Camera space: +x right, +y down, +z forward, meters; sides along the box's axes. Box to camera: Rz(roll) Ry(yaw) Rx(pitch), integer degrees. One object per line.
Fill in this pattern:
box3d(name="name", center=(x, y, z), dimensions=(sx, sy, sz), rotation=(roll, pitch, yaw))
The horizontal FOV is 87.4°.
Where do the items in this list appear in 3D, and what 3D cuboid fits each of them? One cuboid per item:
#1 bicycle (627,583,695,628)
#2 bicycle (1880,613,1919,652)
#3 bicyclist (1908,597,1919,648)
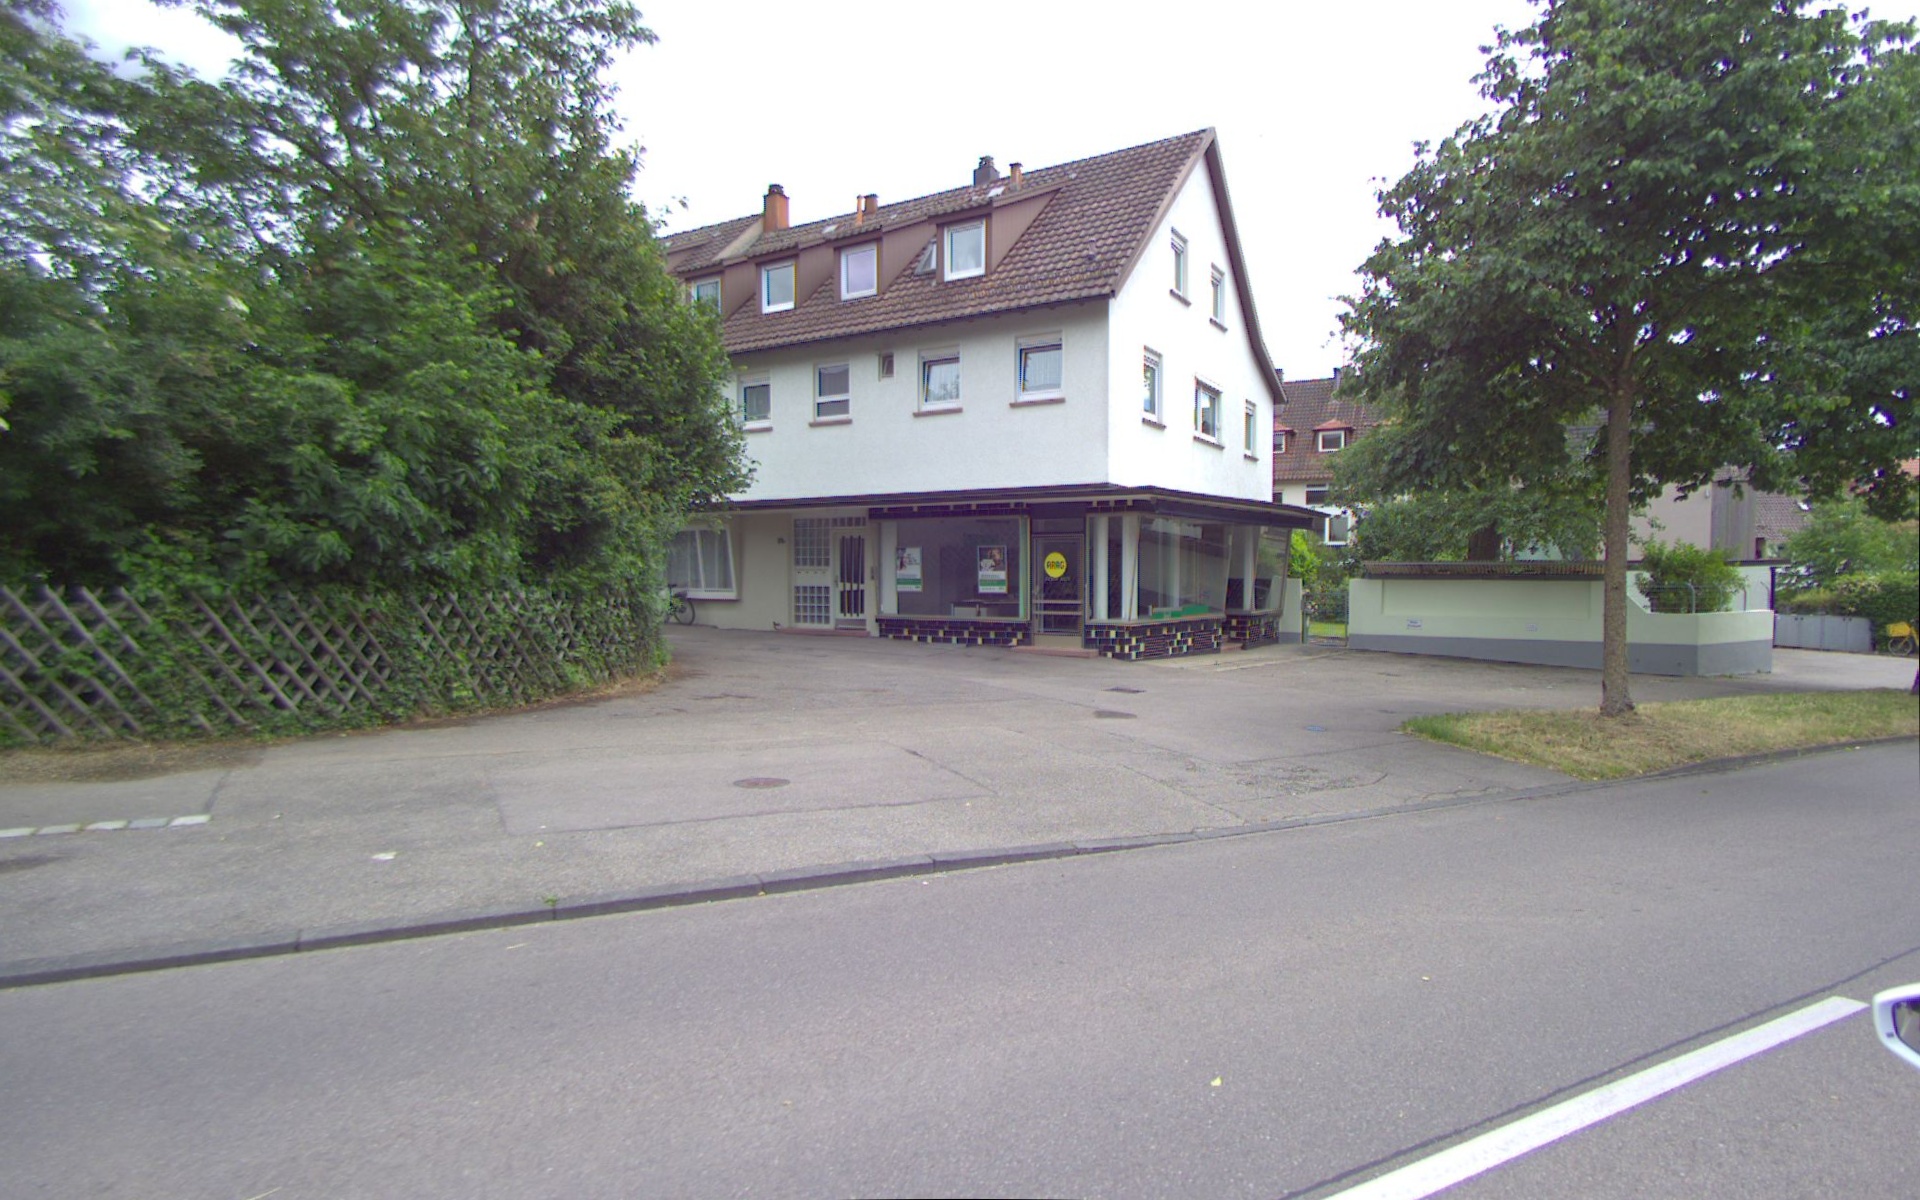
box3d(name="bicycle", center=(-6.882, 0.114, 23.088), dimensions=(1.619, 0.925, 0.658), rotation=(4, 3, 38))
box3d(name="bicycle", center=(32.819, 1.130, 33.851), dimensions=(2.612, 1.283, 0.843), rotation=(3, 2, 41))
box3d(name="bicyclist", center=(32.648, 0.768, 33.976), dimensions=(0.703, 1.720, 0.843), rotation=(3, 2, 39))
